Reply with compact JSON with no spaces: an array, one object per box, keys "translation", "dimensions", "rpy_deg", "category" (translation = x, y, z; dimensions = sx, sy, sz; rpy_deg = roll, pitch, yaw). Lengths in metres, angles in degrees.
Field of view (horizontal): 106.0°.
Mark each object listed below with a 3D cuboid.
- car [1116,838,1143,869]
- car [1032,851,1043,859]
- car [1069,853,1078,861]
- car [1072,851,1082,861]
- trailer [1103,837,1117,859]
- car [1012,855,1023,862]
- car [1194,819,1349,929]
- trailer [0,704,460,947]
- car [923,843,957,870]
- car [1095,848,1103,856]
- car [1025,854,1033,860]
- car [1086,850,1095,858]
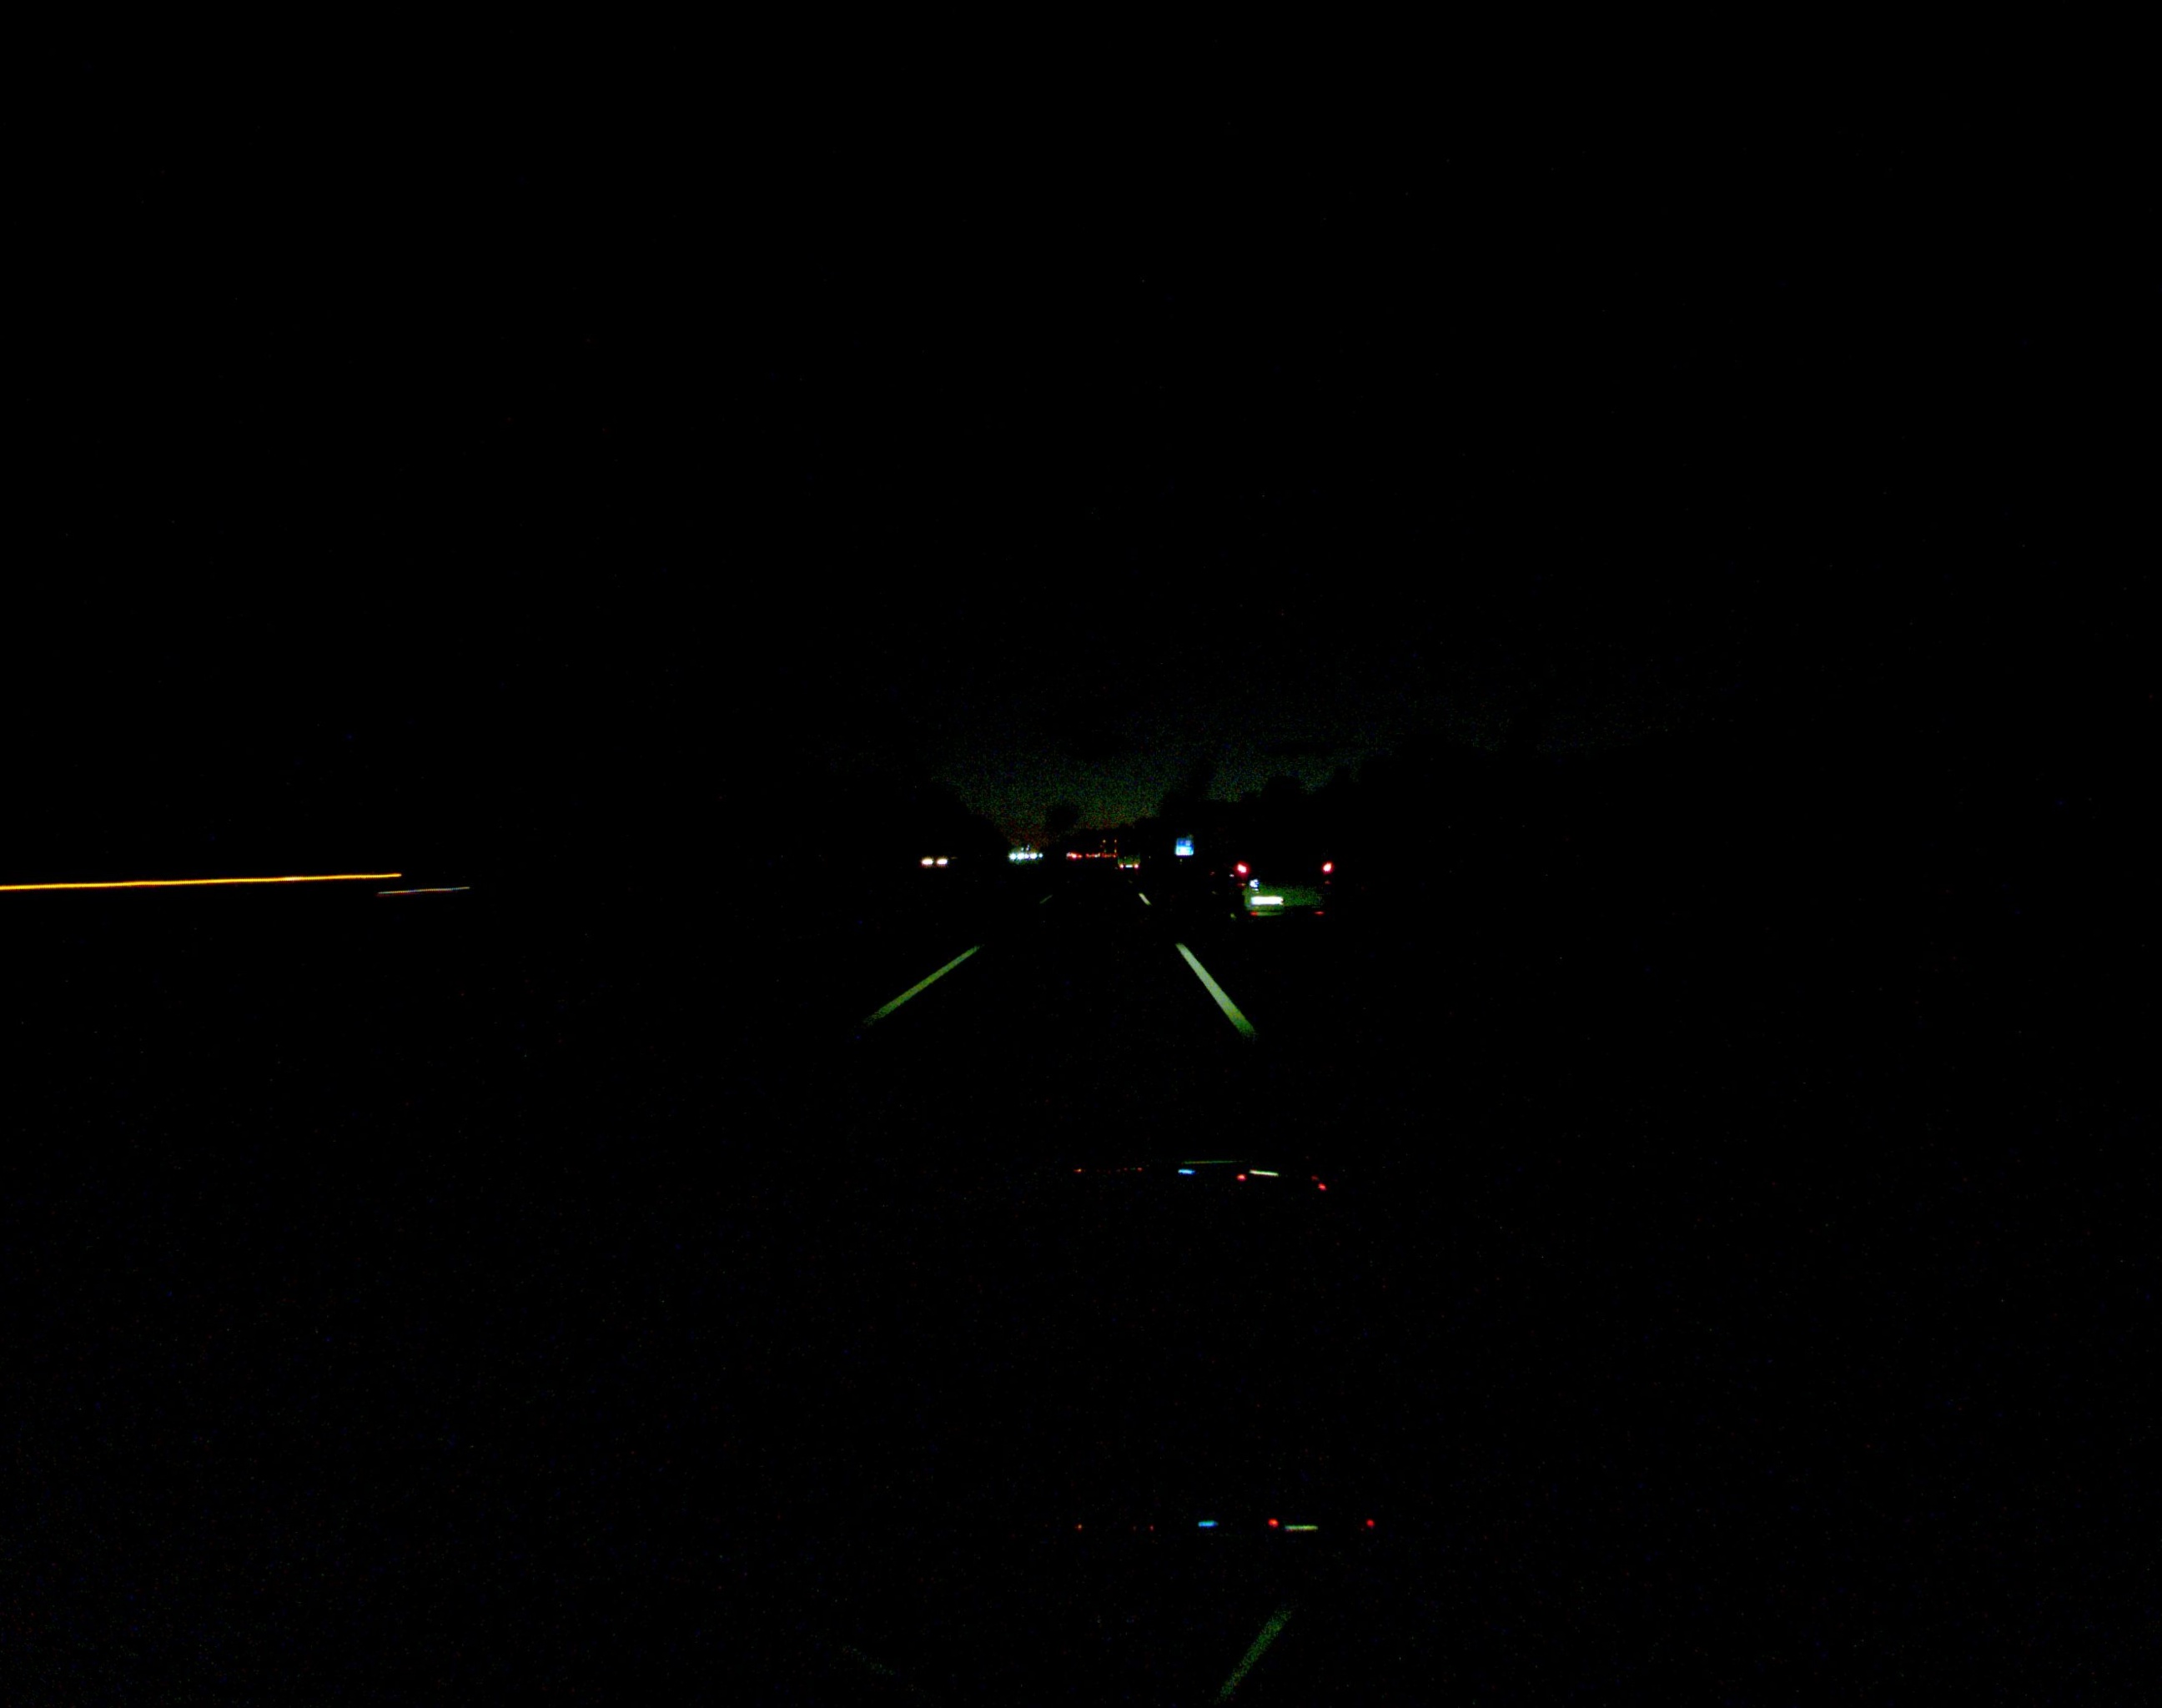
[{"translation":[4.263,-0.001,72.133],"dimensions":[2.026,2.647,5.723],"rpy_deg":[0,0,0],"category":"car"},{"translation":[-9.510,0.146,177.948],"dimensions":[2.003,1.669,4.484],"rpy_deg":[-1,0,2],"category":"car"},{"translation":[-1.765,0.734,194.984],"dimensions":[1.987,1.816,3.999],"rpy_deg":[0,-2,0],"category":"car"},{"translation":[-0.768,0.417,161.139],"dimensions":[1.988,1.794,3.997],"rpy_deg":[0,-2,-1],"category":"car"},{"translation":[6.492,-1.271,181.616],"dimensions":[2.818,4.257,17.055],"rpy_deg":[0,-2,2],"category":"trailer"},{"translation":[-13.479,1.015,171.916],"dimensions":[2.004,1.467,4.207],"rpy_deg":[0,0,-1],"category":"car"},{"translation":[3.872,0.382,17.717],"dimensions":[2.108,2.001,5.664],"rpy_deg":[0,0,1],"category":"car"},{"translation":[-19.377,-0.447,16.023],"dimensions":[3.417,3.980,13.815],"rpy_deg":[0,0,1],"category":"trailer"},{"translation":[-13.667,0.199,79.495],"dimensions":[2.093,2.517,6.217],"rpy_deg":[0,0,1],"category":"car"},{"translation":[4.851,-0.473,221.312],"dimensions":[1.990,2.117,3.994],"rpy_deg":[0,-2,-4],"category":"car"},{"translation":[-13.940,0.717,219.085],"dimensions":[2.004,1.669,4.946],"rpy_deg":[0,0,-1],"category":"car"},{"translation":[2.165,0.028,185.418],"dimensions":[1.987,1.794,4.000],"rpy_deg":[0,-2,1],"category":"car"}]
